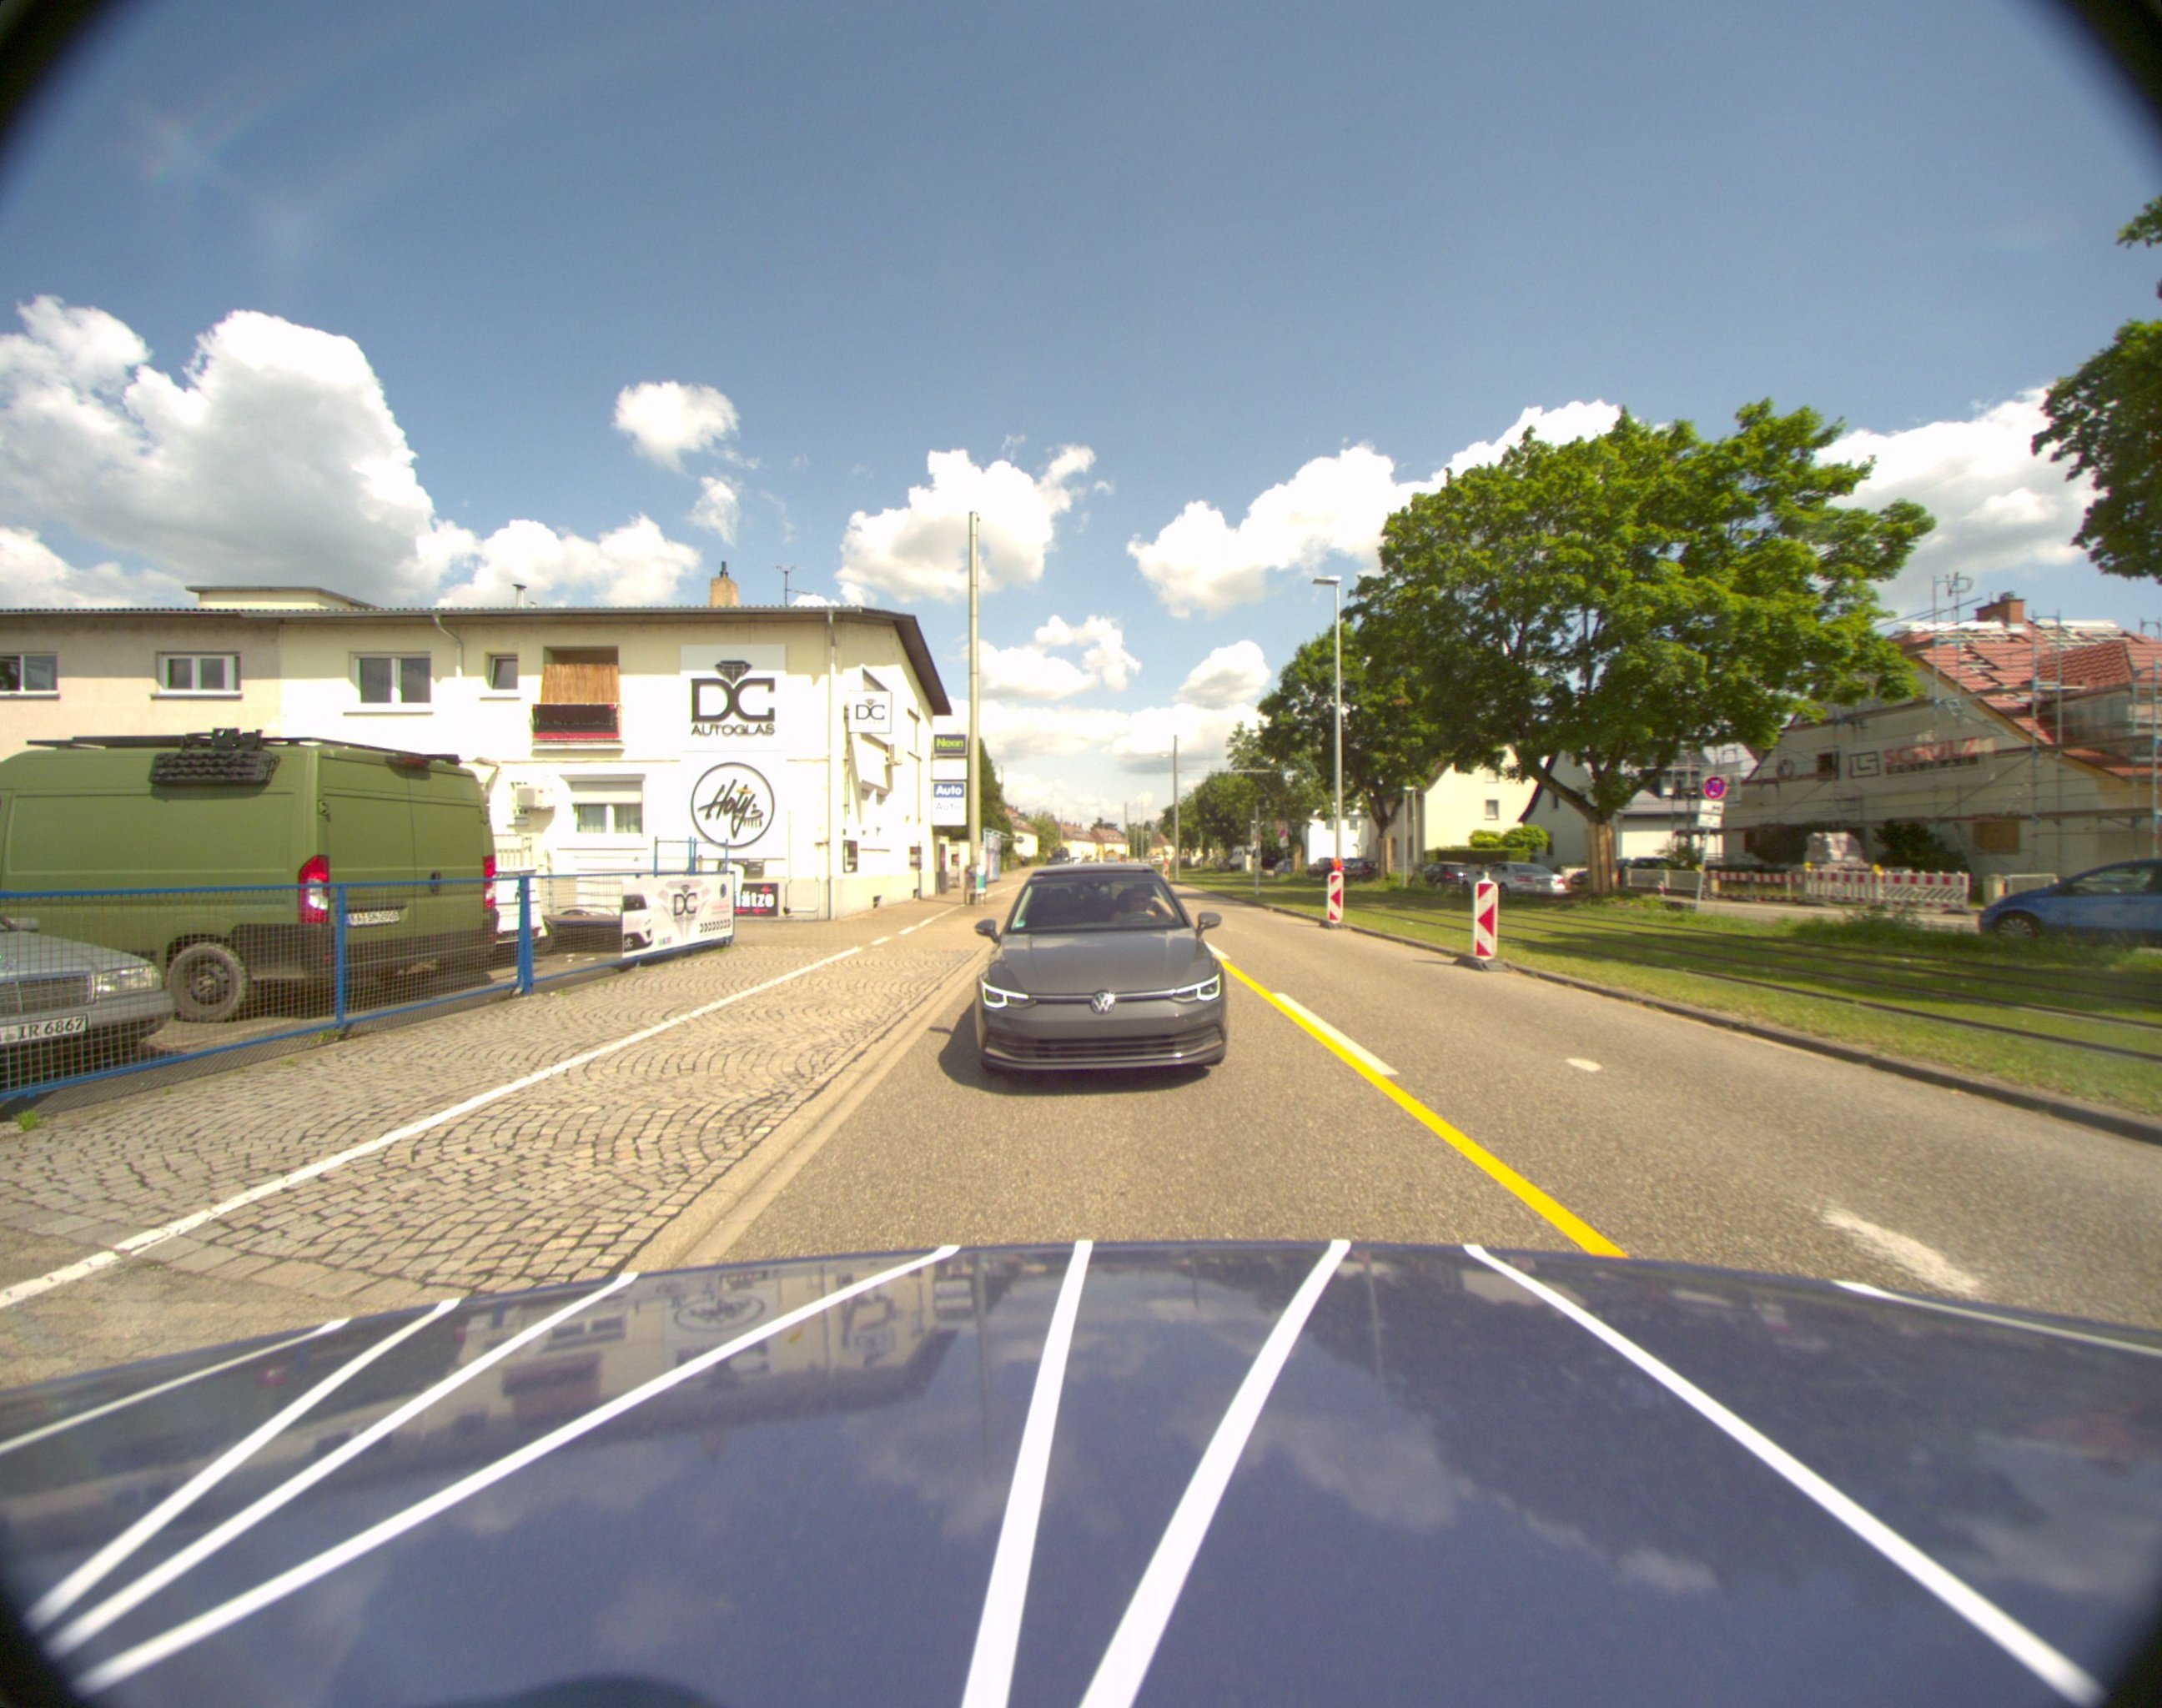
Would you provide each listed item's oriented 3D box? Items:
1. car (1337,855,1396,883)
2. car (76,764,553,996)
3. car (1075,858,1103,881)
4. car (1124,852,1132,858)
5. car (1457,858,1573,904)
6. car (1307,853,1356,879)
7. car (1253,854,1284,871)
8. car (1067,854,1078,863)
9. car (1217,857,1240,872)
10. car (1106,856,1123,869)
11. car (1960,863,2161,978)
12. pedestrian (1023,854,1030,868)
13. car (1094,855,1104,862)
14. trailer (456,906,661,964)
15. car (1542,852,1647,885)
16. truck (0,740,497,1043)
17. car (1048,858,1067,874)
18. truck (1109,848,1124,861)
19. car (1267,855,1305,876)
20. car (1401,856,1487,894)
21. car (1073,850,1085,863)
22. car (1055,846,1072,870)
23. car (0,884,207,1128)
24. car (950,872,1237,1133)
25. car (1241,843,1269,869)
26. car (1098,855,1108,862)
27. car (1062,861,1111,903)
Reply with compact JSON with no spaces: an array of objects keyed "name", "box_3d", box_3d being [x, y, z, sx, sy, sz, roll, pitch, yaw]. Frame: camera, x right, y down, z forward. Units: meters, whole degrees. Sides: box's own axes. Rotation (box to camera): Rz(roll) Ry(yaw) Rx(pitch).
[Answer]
[{"name":"car","box_3d":[16.906,0.859,45.265,1.755,1.602,4.606,0,0,0]},{"name":"car","box_3d":[-9.452,0.305,9.651,4.209,2.653,1.803,0,0,0]},{"name":"car","box_3d":[0.545,0.991,51.238,1.787,1.470,4.009,0,0,1]},{"name":"car","box_3d":[13.552,0.261,218.475,1.718,1.470,4.013,0,0,13]},{"name":"car","box_3d":[16.393,0.971,29.004,1.755,1.602,4.606,0,0,0]},{"name":"car","box_3d":[16.685,0.772,50.904,1.755,1.602,4.606,0,0,0]},{"name":"car","box_3d":[17.592,0.767,71.493,1.755,1.602,4.606,0,0,0]},{"name":"car","box_3d":[-1.352,0.753,122.817,1.720,1.470,4.009,0,0,0]},{"name":"car","box_3d":[16.941,1.165,87.267,1.755,1.602,4.606,0,0,0]},{"name":"car","box_3d":[3.747,0.898,85.483,1.755,1.405,4.261,0,0,0]},{"name":"car","box_3d":[16.218,0.963,11.229,1.755,1.602,4.050,0,0,0]},{"name":"pedestrian","box_3d":[-6.311,0.773,87.946,0.816,1.577,0.918,0,0,1]},{"name":"car","box_3d":[4.122,1.016,172.734,1.718,1.470,4.011,0,0,8]},{"name":"trailer","box_3d":[-8.059,1.241,11.835,2.329,0.762,1.269,0,0,2]},{"name":"car","box_3d":[25.517,0.728,37.829,4.047,1.602,1.757,0,0,1]},{"name":"truck","box_3d":[-8.620,0.332,7.565,3.997,2.592,2.069,0,0,1]},{"name":"car","box_3d":[-2.153,1.076,70.986,1.720,1.470,4.009,0,0,0]},{"name":"truck","box_3d":[9.424,0.045,201.133,2.589,3.431,8.585,0,0,11]},{"name":"car","box_3d":[16.502,0.926,61.354,1.755,1.602,4.606,0,0,0]},{"name":"car","box_3d":[16.595,0.924,35.027,1.755,1.602,4.606,0,0,0]},{"name":"car","box_3d":[-0.415,0.416,136.321,1.719,2.360,5.211,0,0,5]},{"name":"car","box_3d":[-1.909,0.422,82.848,1.720,2.526,5.794,0,0,0]},{"name":"car","box_3d":[-8.434,0.921,4.809,4.206,1.388,1.804,0,0,8]},{"name":"car","box_3d":[0.102,0.941,6.555,1.719,1.470,4.009,0,0,1]},{"name":"car","box_3d":[17.628,0.208,77.052,1.755,2.601,4.606,0,0,0]},{"name":"car","box_3d":[5.195,1.018,179.084,1.718,1.470,4.011,0,0,8]},{"name":"car","box_3d":[0.220,1.022,28.973,1.719,1.470,4.009,0,0,1]}]
